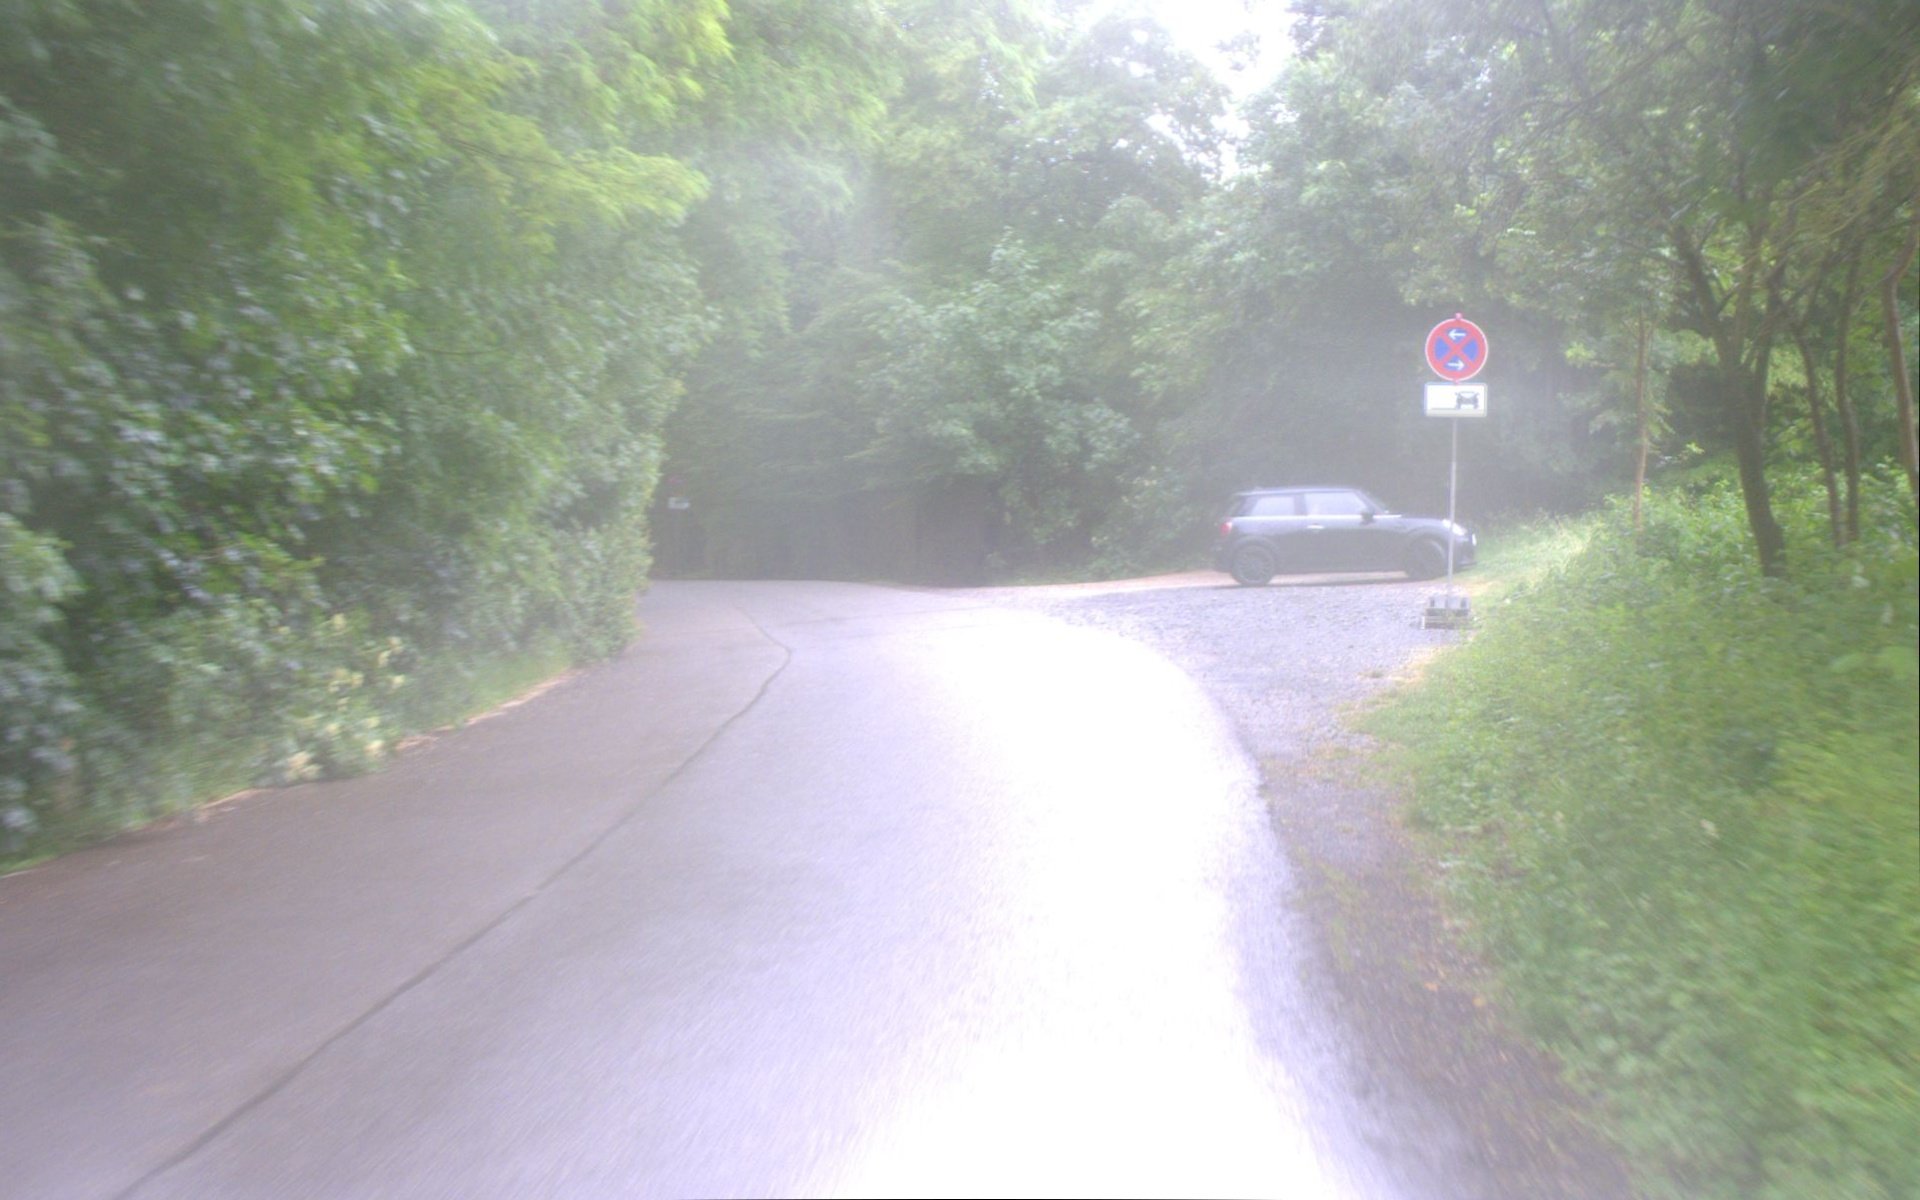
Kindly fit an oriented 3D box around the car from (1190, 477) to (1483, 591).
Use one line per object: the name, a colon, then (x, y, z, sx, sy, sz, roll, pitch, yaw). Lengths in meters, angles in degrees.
car: (5.427, -0.969, 49.919, 3.987, 1.386, 2.000, -3, 2, 1)
